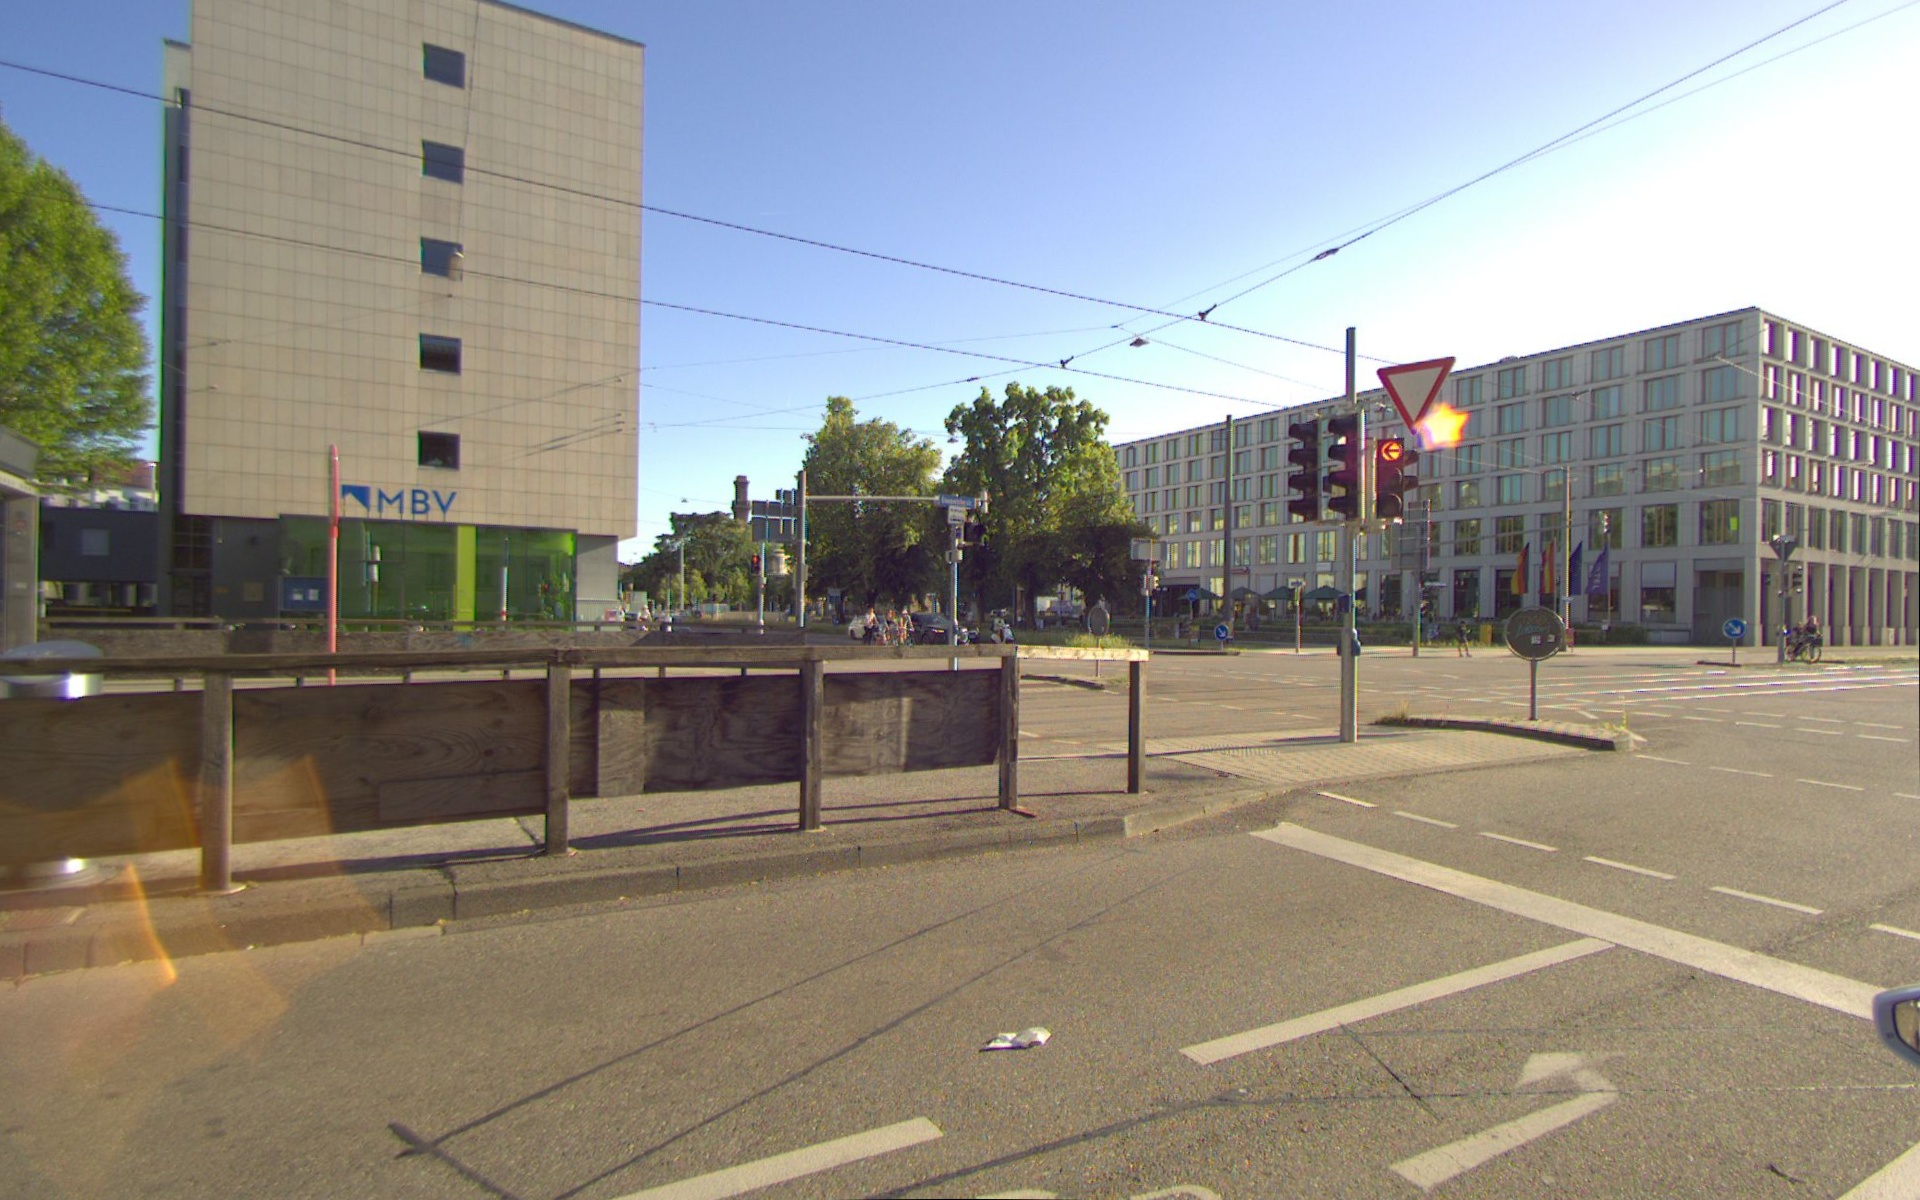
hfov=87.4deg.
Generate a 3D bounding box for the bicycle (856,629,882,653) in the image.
[{"bbox_3d":[-4.042,1.793,44.512,0.576,1.032,1.666,1,-1,-27],"label":"bicycle"}]

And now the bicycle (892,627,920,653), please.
[{"bbox_3d":[-2.255,1.662,41.798,0.576,1.032,1.666,1,-1,-27],"label":"bicycle"}]

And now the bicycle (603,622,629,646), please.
[{"bbox_3d":[-15.785,1.547,46.048,0.802,1.047,2.111,1,-1,-28],"label":"bicycle"}]

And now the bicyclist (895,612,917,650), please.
[{"bbox_3d":[-2.261,1.269,41.833,0.576,1.563,0.890,1,-1,-27],"label":"bicyclist"}]

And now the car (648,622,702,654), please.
[{"bbox_3d":[-15.325,2.016,53.880,1.975,1.472,4.179,2,0,-28],"label":"car"}]

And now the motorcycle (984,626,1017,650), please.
[{"bbox_3d":[1.857,1.751,46.374,0.624,1.030,1.972,-3,1,-28],"label":"motorcycle"}]

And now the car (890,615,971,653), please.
[{"bbox_3d":[-1.333,1.460,44.228,1.925,1.561,3.969,2,-2,-29],"label":"car"}]

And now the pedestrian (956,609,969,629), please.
[{"bbox_3d":[0.180,1.665,88.237,0.858,1.738,0.737,2,0,-26],"label":"pedestrian"}]

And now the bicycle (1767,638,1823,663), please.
[{"bbox_3d":[29.921,1.801,36.024,0.562,0.834,1.718,1,-1,-2],"label":"bicycle"}]

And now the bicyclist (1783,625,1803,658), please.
[{"bbox_3d":[38.696,1.914,46.677,0.658,1.518,0.492,1,-1,-28],"label":"bicyclist"}]

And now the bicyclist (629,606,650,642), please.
[{"bbox_3d":[-14.539,1.084,45.553,0.802,1.623,0.677,1,-1,-29],"label":"bicyclist"}]

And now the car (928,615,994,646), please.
[{"bbox_3d":[0.026,1.557,51.624,1.674,1.506,3.719,1,-1,-33],"label":"car"}]

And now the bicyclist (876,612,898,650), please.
[{"bbox_3d":[-3.021,1.268,41.432,0.577,1.563,0.833,1,-2,-32],"label":"bicyclist"}]

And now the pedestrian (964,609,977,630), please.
[{"bbox_3d":[0.940,1.685,86.831,0.858,1.738,0.737,2,0,-26],"label":"pedestrian"}]

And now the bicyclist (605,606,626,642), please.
[{"bbox_3d":[-15.813,1.115,46.120,0.802,1.623,0.677,1,-1,-29],"label":"bicyclist"}]

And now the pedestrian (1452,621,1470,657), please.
[{"bbox_3d":[23.958,1.849,48.049,0.594,1.703,0.606,1,-1,5],"label":"pedestrian"}]

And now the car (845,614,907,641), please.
[{"bbox_3d":[-5.006,1.603,59.202,1.980,1.537,3.962,1,-1,-34],"label":"car"}]

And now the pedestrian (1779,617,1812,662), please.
[{"bbox_3d":[29.929,1.405,35.992,0.562,1.616,0.744,1,-1,-3],"label":"pedestrian"}]

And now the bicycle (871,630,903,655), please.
[{"bbox_3d":[-3.027,1.746,41.436,0.577,1.032,1.806,1,-2,-31],"label":"bicycle"}]

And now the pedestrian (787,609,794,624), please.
[{"bbox_3d":[-20.978,2.007,124.462,0.758,1.829,0.624,2,0,-6],"label":"pedestrian"}]

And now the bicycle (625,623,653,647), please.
[{"bbox_3d":[-14.580,1.595,45.570,0.802,1.047,2.111,1,-1,-28],"label":"bicycle"}]

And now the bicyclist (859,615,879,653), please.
[{"bbox_3d":[-4.041,1.487,44.519,0.576,1.658,0.890,1,-1,-27],"label":"bicyclist"}]

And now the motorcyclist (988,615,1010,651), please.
[{"bbox_3d":[1.816,1.509,46.404,0.624,1.601,0.812,-3,1,-28],"label":"motorcyclist"}]

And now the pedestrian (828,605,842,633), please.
[{"bbox_3d":[-9.156,1.405,73.550,0.772,2.040,0.747,1,-1,-31],"label":"pedestrian"}]
